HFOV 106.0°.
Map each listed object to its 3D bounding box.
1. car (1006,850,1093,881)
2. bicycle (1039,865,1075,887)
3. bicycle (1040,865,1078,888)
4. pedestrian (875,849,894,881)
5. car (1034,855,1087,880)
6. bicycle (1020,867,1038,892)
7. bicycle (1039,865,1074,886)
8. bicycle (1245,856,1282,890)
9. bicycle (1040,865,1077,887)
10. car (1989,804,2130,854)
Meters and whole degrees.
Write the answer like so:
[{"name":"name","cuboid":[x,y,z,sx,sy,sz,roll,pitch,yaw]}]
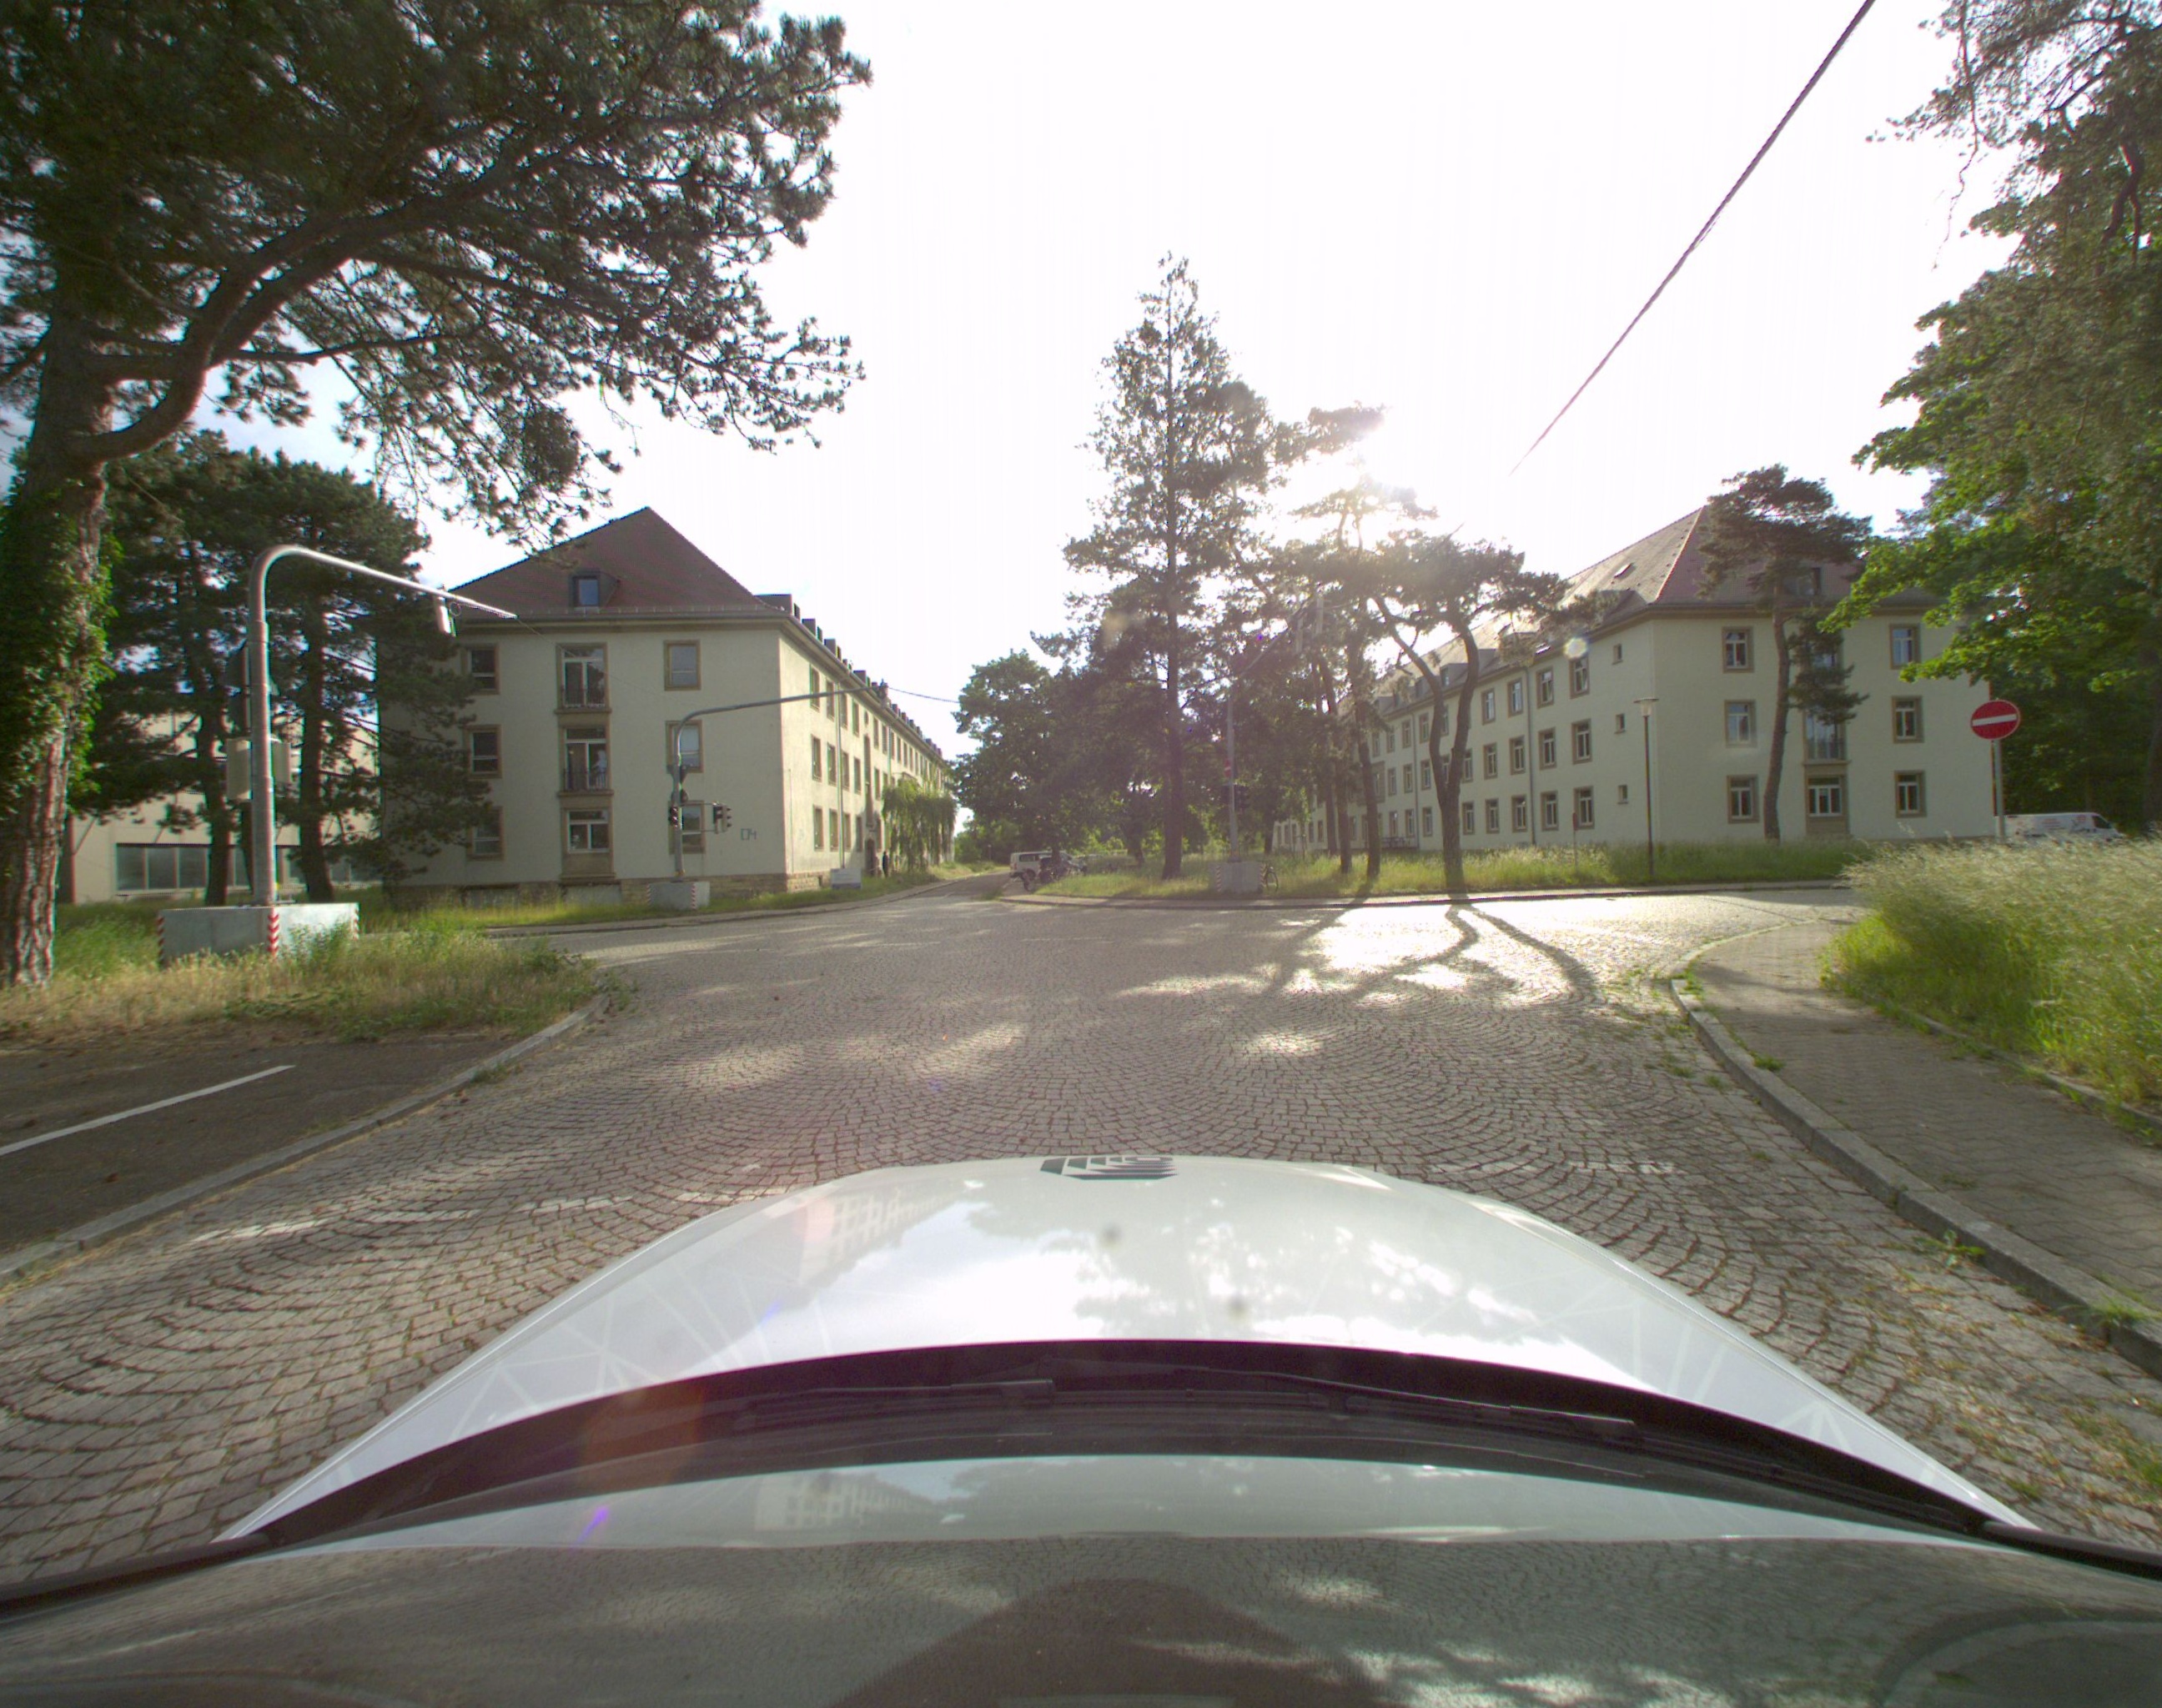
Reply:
[{"name":"car","cuboid":[-2.191,0.803,55.451,5.514,1.916,2.241,-2,-1,-17]},{"name":"bicycle","cuboid":[-1.244,1.127,42.082,1.789,0.999,0.643,-2,1,-5]},{"name":"bicycle","cuboid":[-1.083,1.093,39.569,1.789,0.999,0.643,-2,1,-5]},{"name":"pedestrian","cuboid":[-12.362,0.698,51.233,0.983,1.963,0.931,-2,-1,-4]},{"name":"car","cuboid":[-1.345,0.864,51.934,3.038,1.465,1.711,-2,-1,-16]},{"name":"bicycle","cuboid":[-2.272,1.091,35.901,0.726,0.999,1.797,-2,1,-3]},{"name":"bicycle","cuboid":[-1.274,1.136,42.819,1.789,0.999,0.643,-2,1,-5]},{"name":"bicycle","cuboid":[5.753,0.593,25.815,0.562,0.999,1.748,-2,1,-7]},{"name":"bicycle","cuboid":[-1.135,1.108,40.587,1.789,0.999,0.643,-2,1,-5]},{"name":"car","cuboid":[53.969,-1.338,44.999,5.145,2.536,2.262,-2,-1,-2]}]
